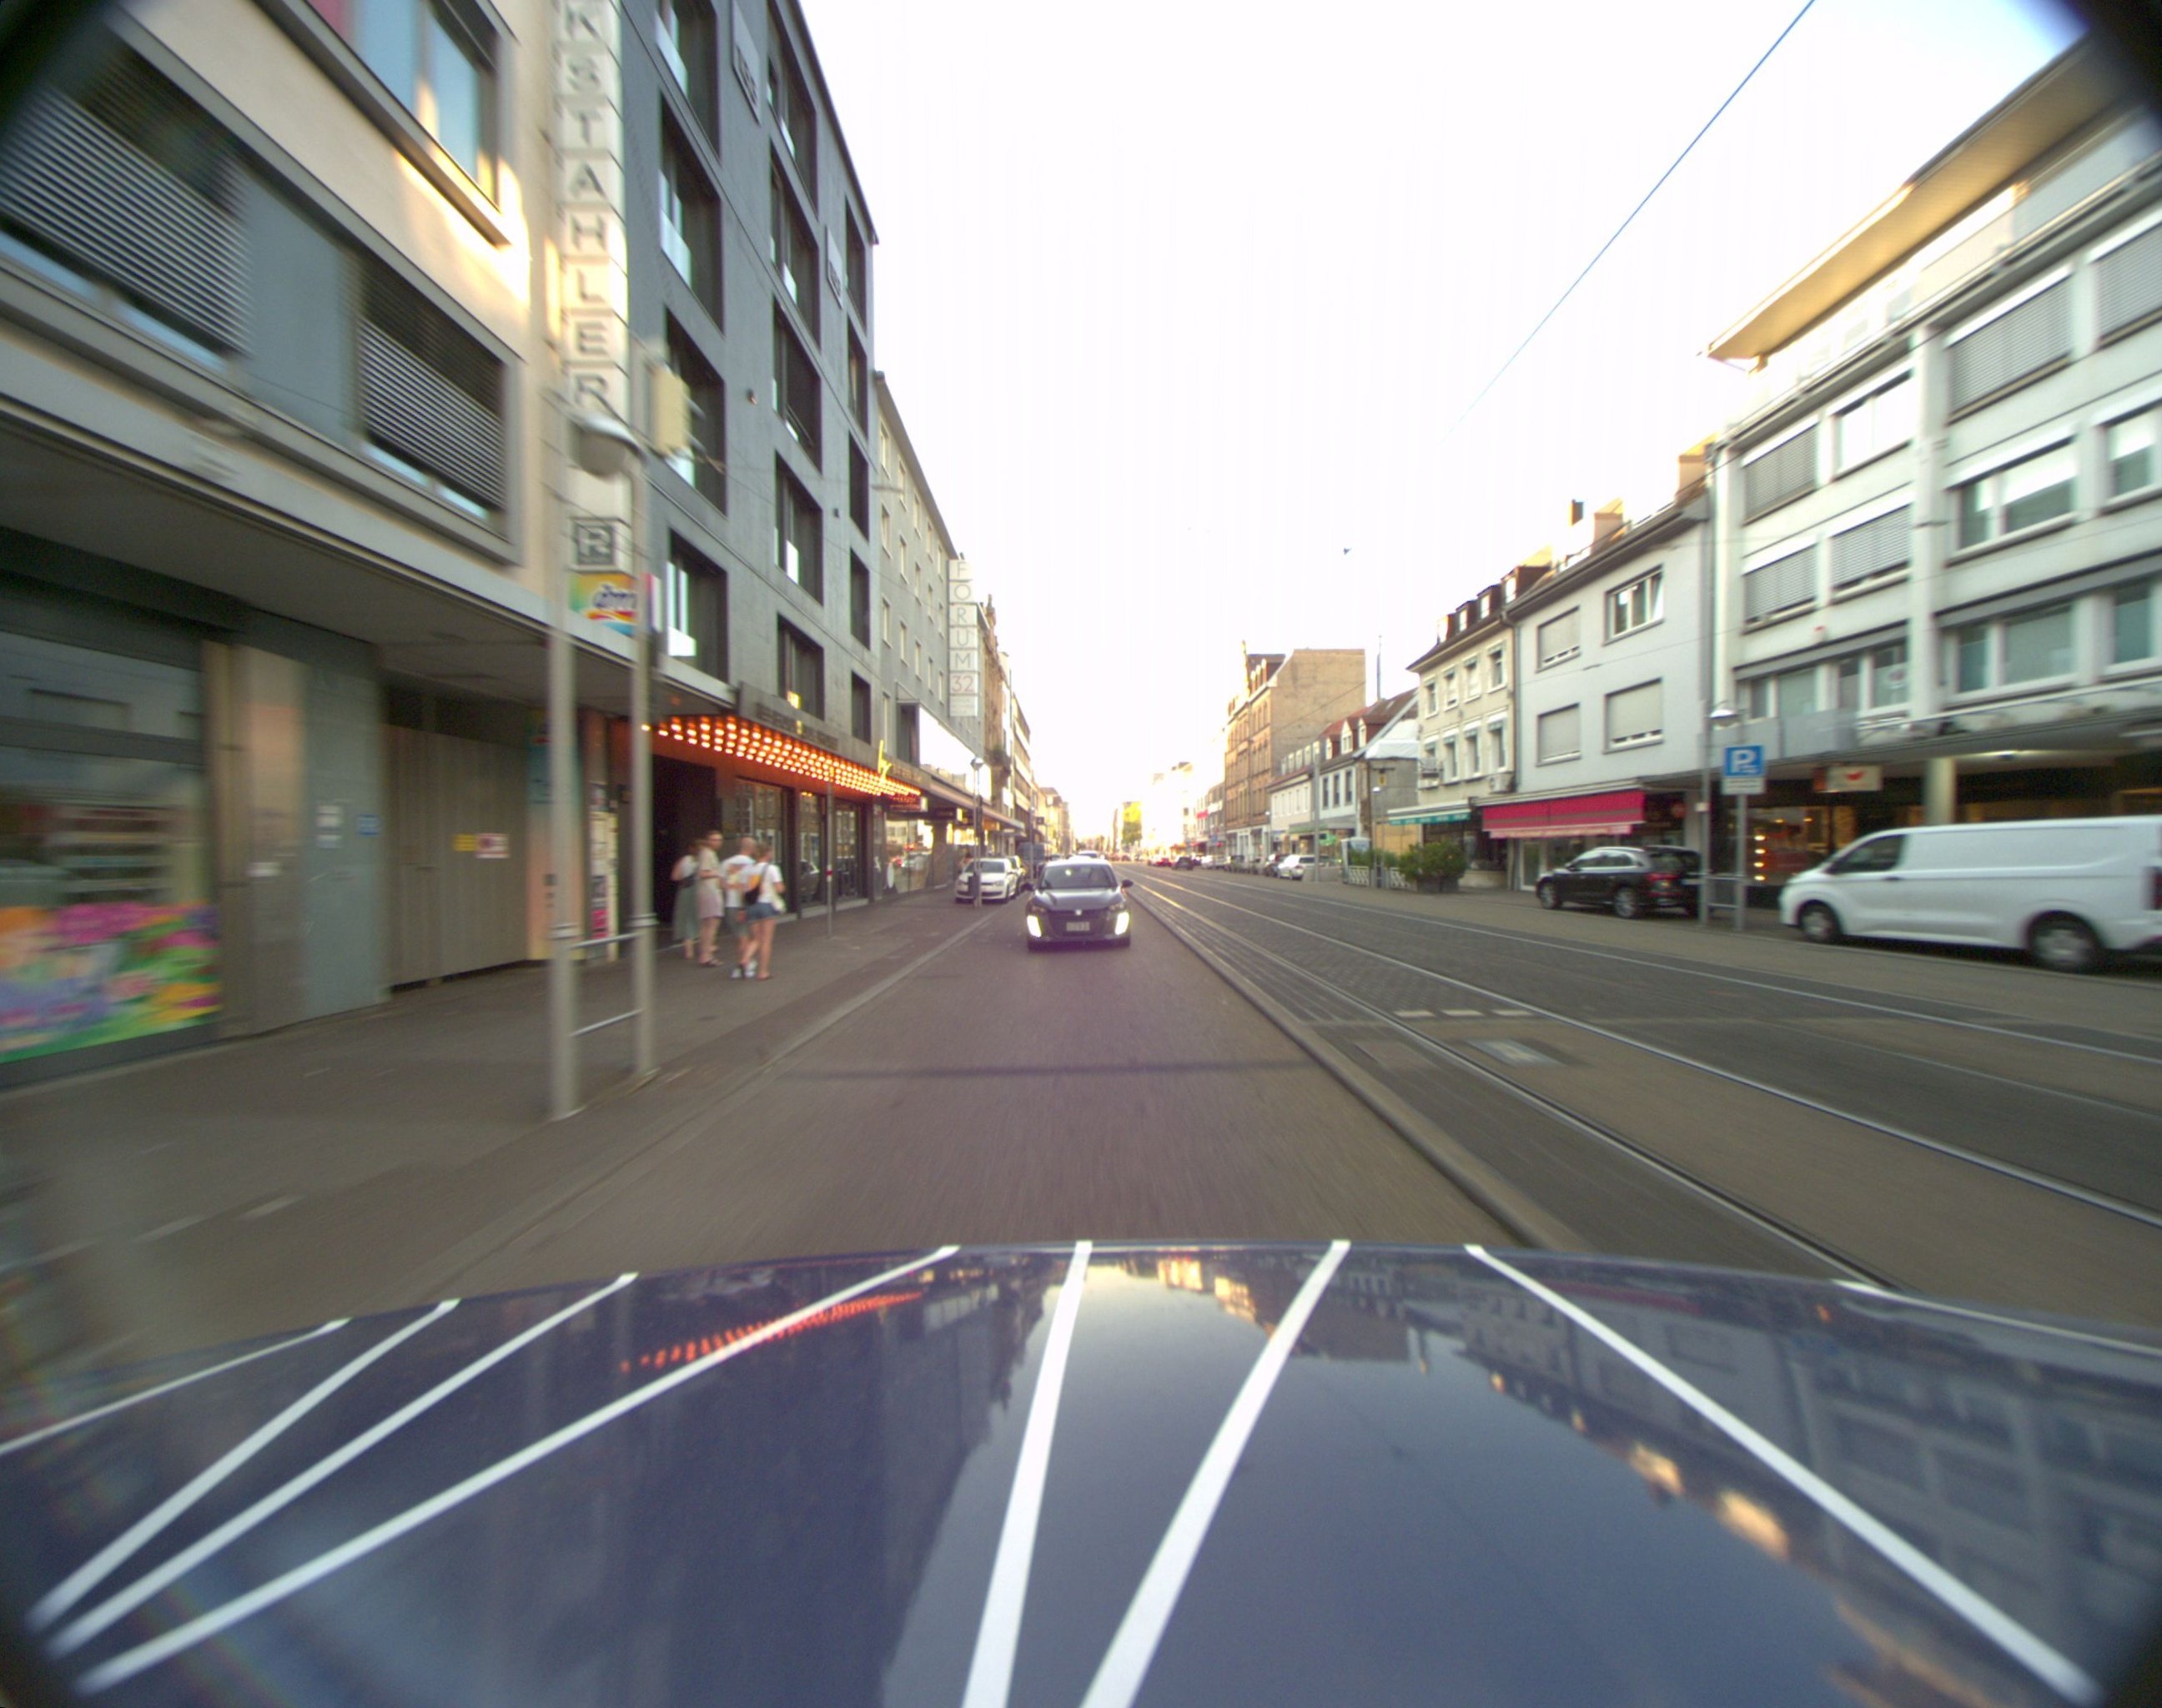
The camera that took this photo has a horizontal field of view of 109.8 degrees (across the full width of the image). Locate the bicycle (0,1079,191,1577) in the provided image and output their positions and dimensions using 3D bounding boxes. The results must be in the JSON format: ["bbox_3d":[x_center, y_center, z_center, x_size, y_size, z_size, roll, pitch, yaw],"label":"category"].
[{"bbox_3d":[-3.514,1.166,1.821,1.890,1.071,0.676,2,1,-2],"label":"bicycle"}]

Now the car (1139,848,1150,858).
[{"bbox_3d":[13.454,-0.285,161.631,1.998,2.024,4.000,0,0,0],"label":"car"}]

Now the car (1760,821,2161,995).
[{"bbox_3d":[13.171,0.594,11.036,1.960,1.965,5.162,0,0,-1],"label":"car"}]

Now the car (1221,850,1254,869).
[{"bbox_3d":[13.598,0.463,66.184,1.998,1.543,4.000,0,0,0],"label":"car"}]

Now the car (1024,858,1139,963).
[{"bbox_3d":[-0.014,0.880,13.810,1.732,1.513,4.333,-2,0,-1],"label":"car"}]

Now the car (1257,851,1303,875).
[{"bbox_3d":[13.297,0.550,51.062,1.914,1.535,4.552,0,0,0],"label":"car"}]

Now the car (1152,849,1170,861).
[{"bbox_3d":[10.526,0.070,99.919,1.998,1.543,4.000,0,0,0],"label":"car"}]

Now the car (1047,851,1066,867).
[{"bbox_3d":[-2.630,0.546,82.662,1.999,1.627,5.243,0,0,-1],"label":"car"}]

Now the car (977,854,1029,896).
[{"bbox_3d":[-3.076,0.803,30.615,1.673,1.565,4.034,0,0,0],"label":"car"}]

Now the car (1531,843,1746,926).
[{"bbox_3d":[13.297,0.640,18.546,1.863,1.711,4.527,-2,0,-1],"label":"car"}]

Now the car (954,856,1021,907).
[{"bbox_3d":[-3.049,0.844,25.450,1.682,1.534,3.886,1,0,1],"label":"car"}]

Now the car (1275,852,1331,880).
[{"bbox_3d":[13.252,0.681,45.675,1.998,1.535,4.878,-1,0,1],"label":"car"}]

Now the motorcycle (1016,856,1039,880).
[{"bbox_3d":[-3.161,0.842,45.027,0.574,1.369,1.512,0,1,30],"label":"motorcycle"}]

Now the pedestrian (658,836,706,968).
[{"bbox_3d":[-5.783,0.682,11.030,0.452,1.888,0.421,0,1,0],"label":"pedestrian"}]

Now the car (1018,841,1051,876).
[{"bbox_3d":[-3.210,0.287,53.242,2.046,2.371,5.584,0,0,-1],"label":"car"}]

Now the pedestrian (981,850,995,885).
[{"bbox_3d":[-4.663,0.652,38.240,0.610,1.743,0.605,0,1,0],"label":"pedestrian"}]

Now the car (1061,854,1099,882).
[{"bbox_3d":[-0.064,0.732,42.075,1.998,1.450,3.999,0,0,0],"label":"car"}]

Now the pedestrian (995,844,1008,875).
[{"bbox_3d":[-5.050,0.339,48.403,0.711,2.002,0.824,0,1,0],"label":"pedestrian"}]

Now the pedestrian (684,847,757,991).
[{"bbox_3d":[-4.500,0.792,9.515,0.610,1.743,0.605,0,1,0],"label":"pedestrian"}]

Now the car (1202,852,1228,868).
[{"bbox_3d":[13.771,0.572,78.270,1.998,1.543,4.206,0,0,0],"label":"car"}]

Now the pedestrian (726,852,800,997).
[{"bbox_3d":[-3.879,0.832,9.306,0.605,1.717,0.646,0,1,0],"label":"pedestrian"}]

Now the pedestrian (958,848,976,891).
[{"bbox_3d":[-4.735,0.645,31.553,0.610,1.743,0.605,0,1,0],"label":"pedestrian"}]

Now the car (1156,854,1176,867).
[{"bbox_3d":[10.374,0.826,92.897,1.998,1.543,4.000,0,0,0],"label":"car"}]

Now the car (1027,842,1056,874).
[{"bbox_3d":[-3.050,0.316,59.693,1.999,2.390,5.563,0,0,-1],"label":"car"}]

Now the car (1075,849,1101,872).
[{"bbox_3d":[0.499,0.475,61.517,1.999,1.805,3.999,0,0,-1],"label":"car"}]

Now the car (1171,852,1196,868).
[{"bbox_3d":[10.114,0.558,75.206,1.998,1.543,4.000,0,0,0],"label":"car"}]

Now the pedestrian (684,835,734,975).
[{"bbox_3d":[-5.125,0.691,10.487,0.456,1.888,0.421,0,1,0],"label":"pedestrian"}]
